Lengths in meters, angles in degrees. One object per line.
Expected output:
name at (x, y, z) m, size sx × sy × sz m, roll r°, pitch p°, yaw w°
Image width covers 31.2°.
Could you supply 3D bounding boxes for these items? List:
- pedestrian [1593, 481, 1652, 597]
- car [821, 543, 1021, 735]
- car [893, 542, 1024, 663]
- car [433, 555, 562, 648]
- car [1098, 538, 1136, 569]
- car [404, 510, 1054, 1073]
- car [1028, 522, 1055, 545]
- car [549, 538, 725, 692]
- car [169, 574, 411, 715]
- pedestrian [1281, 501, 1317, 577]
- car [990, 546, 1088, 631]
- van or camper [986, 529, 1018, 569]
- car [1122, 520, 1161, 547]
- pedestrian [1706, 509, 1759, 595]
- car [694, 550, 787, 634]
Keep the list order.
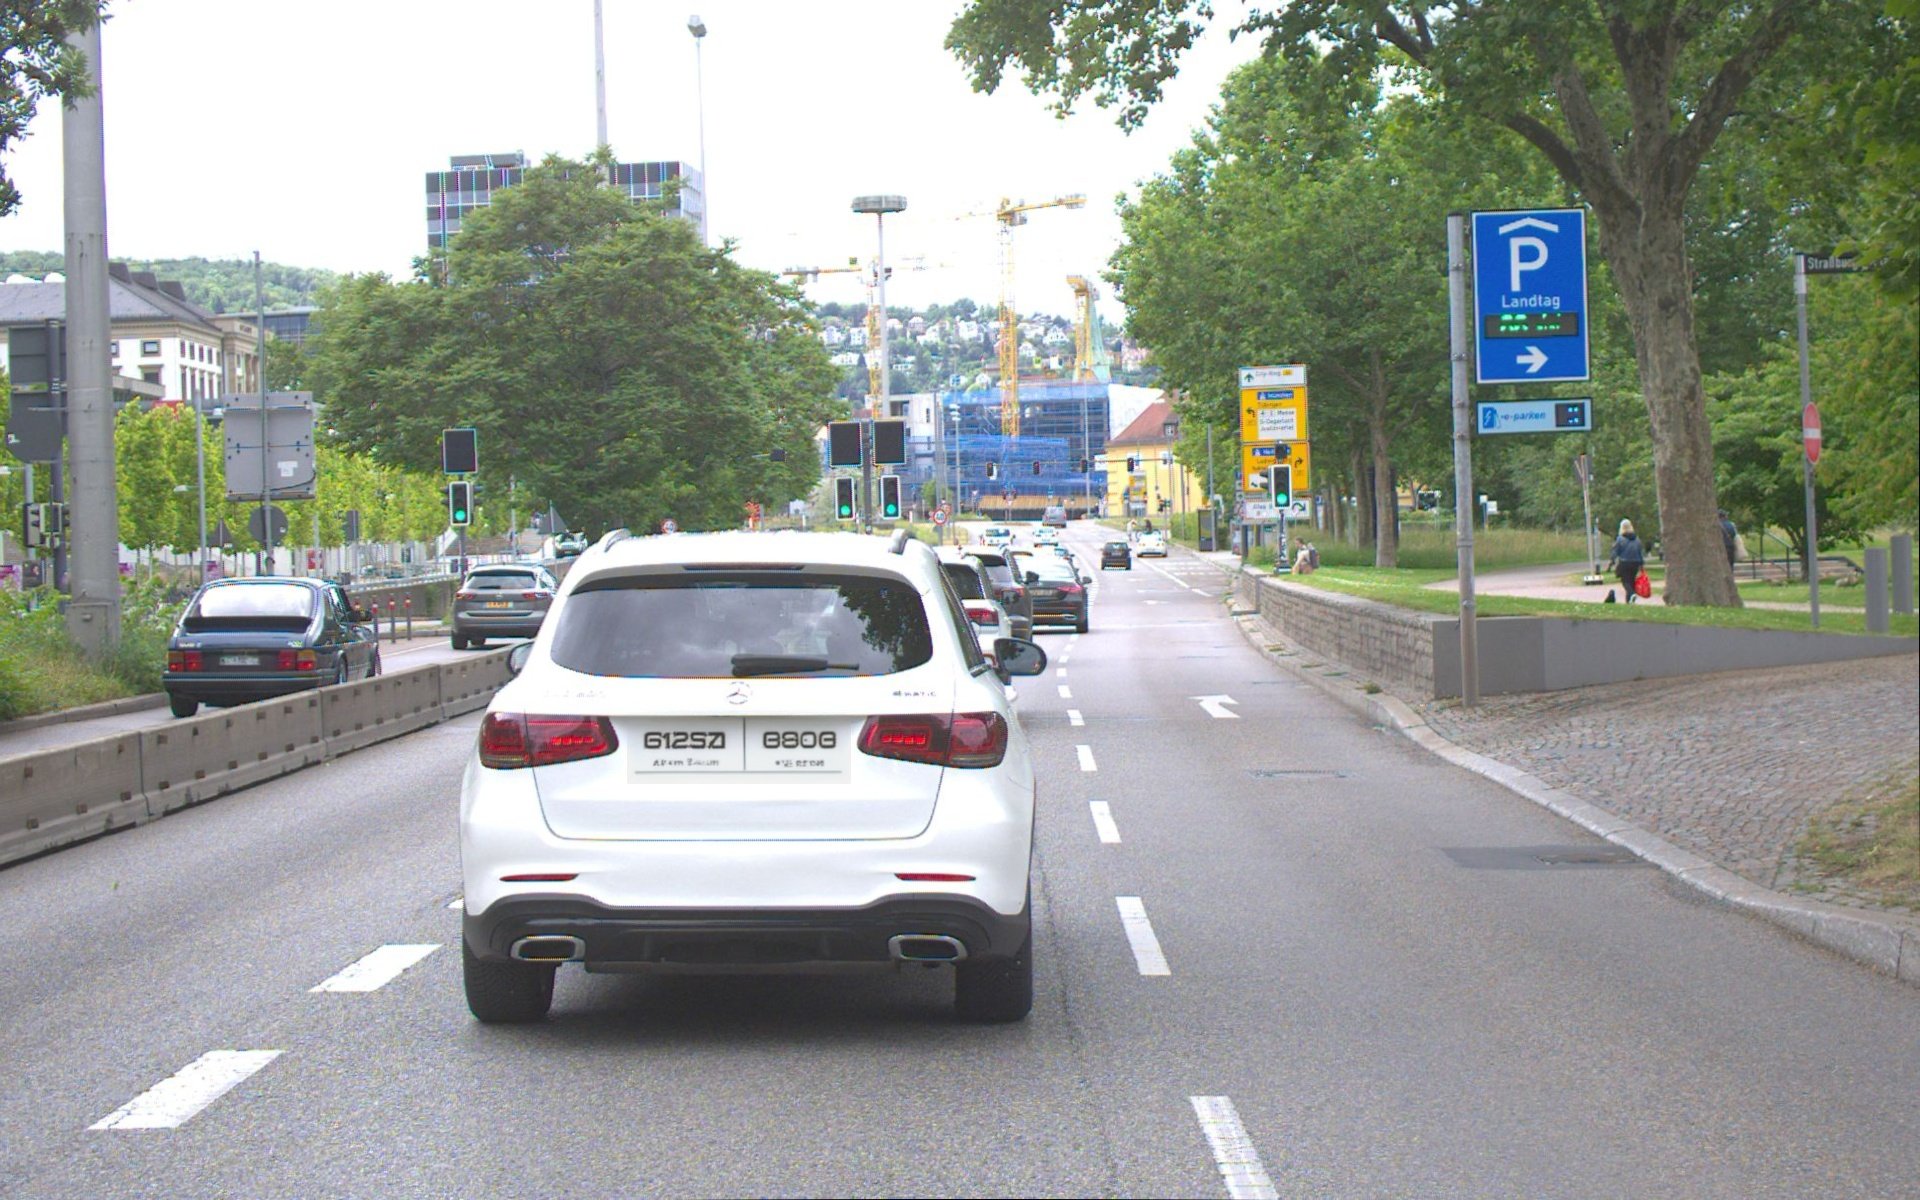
pedestrian at (11.694, -1.071, 60.679) m, size 0.856 × 2.007 × 0.815 m, roll 1°, pitch -1°, yaw -1°
car at (-0.296, 0.339, 31.401) m, size 1.672 × 1.622 × 4.000 m, roll 1°, pitch 0°, yaw 1°
car at (-0.055, 0.002, 47.909) m, size 1.719 × 1.579 × 4.000 m, roll 1°, pitch 1°, yaw -1°
car at (-8.082, 0.007, 60.376) m, size 1.753 × 1.548 × 4.000 m, roll 1°, pitch 1°, yaw -1°
car at (8.345, -2.478, 182.774) m, size 1.719 × 1.579 × 4.000 m, roll 1°, pitch 1°, yaw -1°
car at (-0.735, 0.576, 12.403) m, size 1.940 × 1.678 × 4.000 m, roll 1°, pitch 0°, yaw -1°
car at (5.792, -4.732, 245.021) m, size 1.719 × 1.579 × 4.000 m, roll 1°, pitch 1°, yaw -1°
car at (-3.705, 0.132, 39.982) m, size 1.719 × 1.673 × 4.000 m, roll 1°, pitch 1°, yaw -1°
car at (-6.705, 0.405, 34.764) m, size 1.719 × 1.288 × 4.000 m, roll 1°, pitch 1°, yaw -1°
pedestrian at (7.438, -1.341, 75.389) m, size 0.697 × 1.650 × 0.684 m, roll 1°, pitch 0°, yaw 0°
car at (1.510, -0.249, 66.946) m, size 1.719 × 1.579 × 4.000 m, roll 1°, pitch 1°, yaw -1°
van or camper at (2.609, -3.152, 212.428) m, size 1.922 × 2.312 × 4.000 m, roll 0°, pitch -1°, yaw 0°
car at (11.340, -4.165, 214.982) m, size 1.993 × 1.612 × 4.001 m, roll 1°, pitch 0°, yaw -4°
pedestrian at (13.789, -0.856, 61.392) m, size 0.786 × 1.521 × 0.683 m, roll 1°, pitch 0°, yaw 1°
car at (-4.294, -0.178, 67.561) m, size 1.719 × 1.579 × 4.001 m, roll 1°, pitch 1°, yaw -2°
